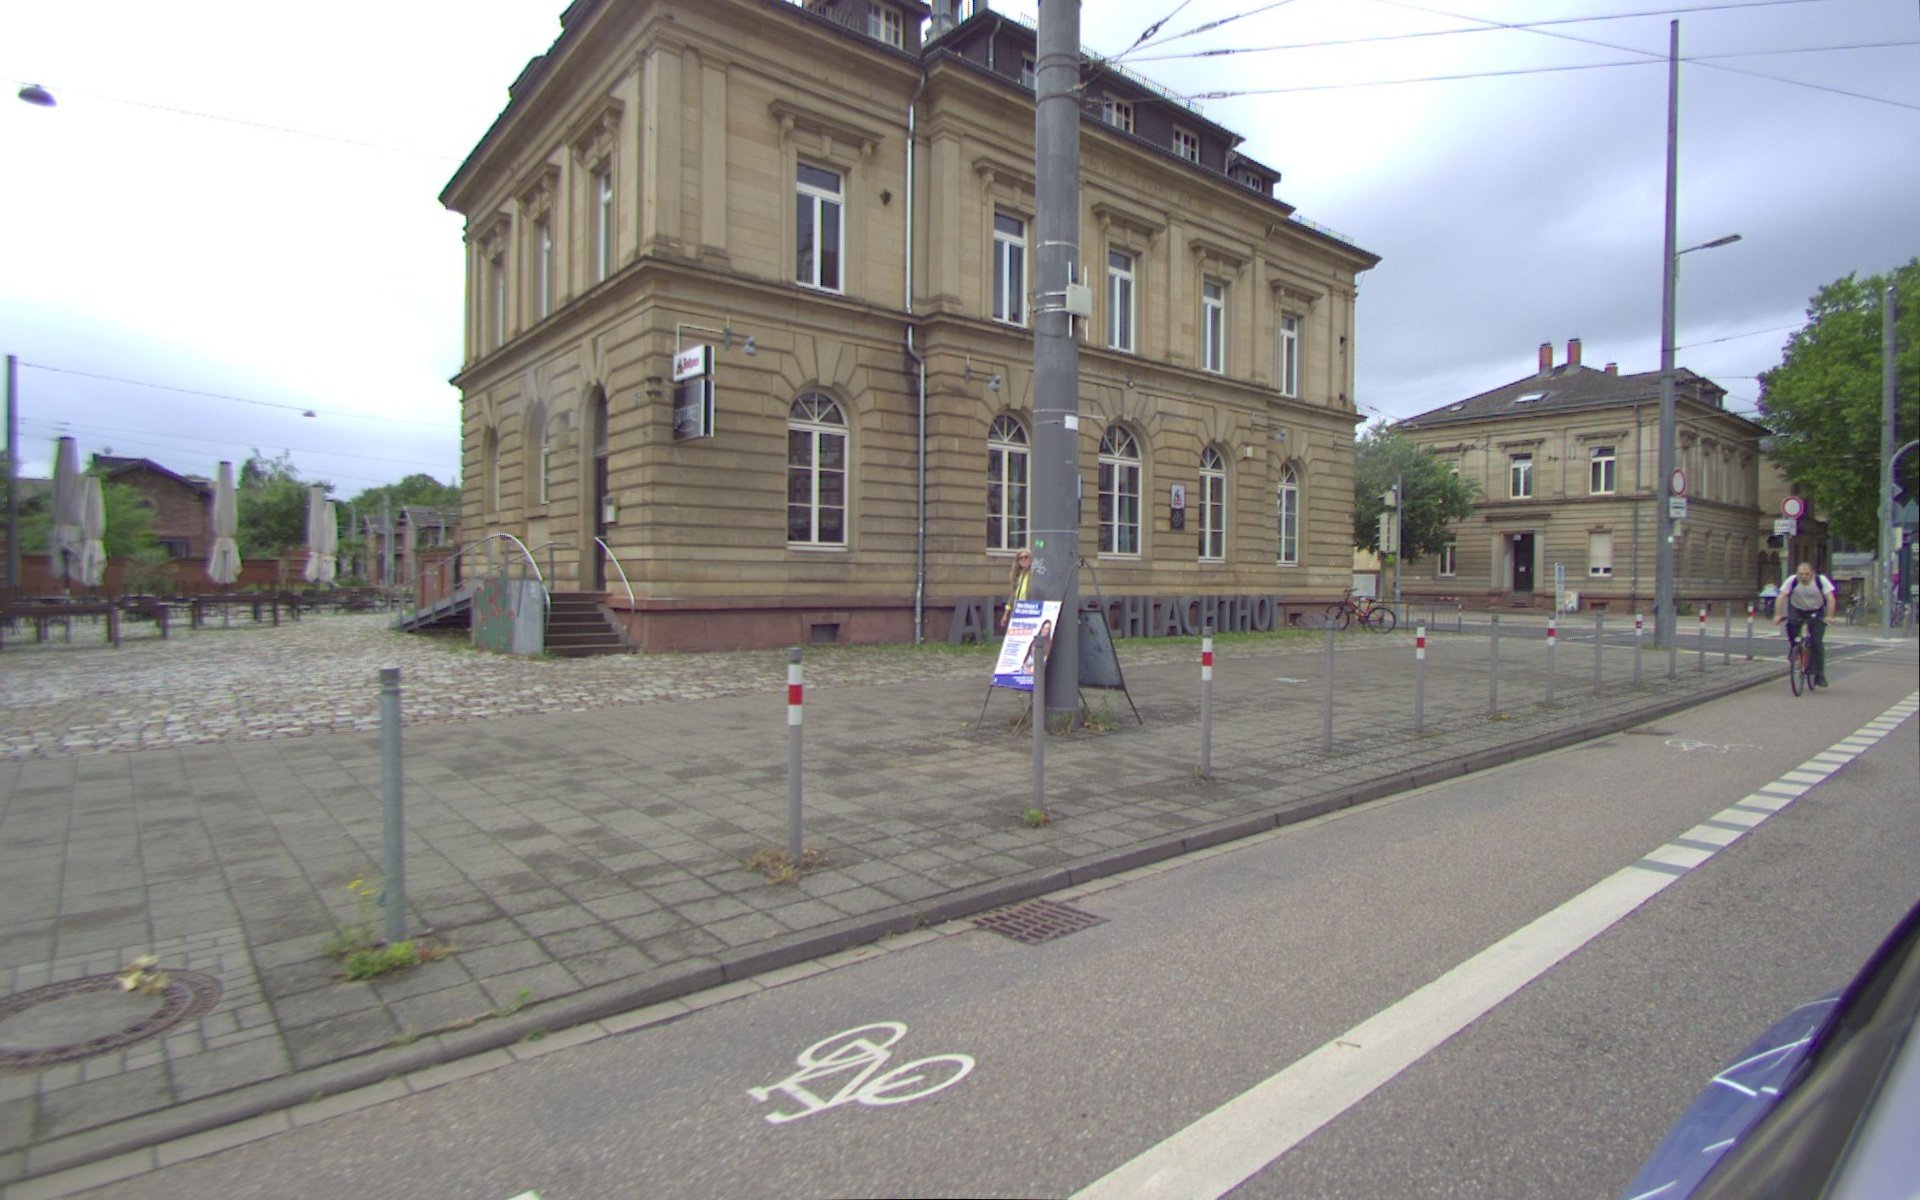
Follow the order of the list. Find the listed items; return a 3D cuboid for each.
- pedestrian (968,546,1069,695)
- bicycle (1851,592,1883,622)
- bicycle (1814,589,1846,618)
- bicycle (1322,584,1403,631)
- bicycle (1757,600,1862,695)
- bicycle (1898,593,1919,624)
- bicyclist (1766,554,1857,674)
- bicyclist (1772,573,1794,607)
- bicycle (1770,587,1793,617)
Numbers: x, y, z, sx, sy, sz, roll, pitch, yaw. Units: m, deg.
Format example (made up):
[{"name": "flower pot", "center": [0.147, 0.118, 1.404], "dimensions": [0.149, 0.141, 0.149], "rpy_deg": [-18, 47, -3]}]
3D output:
[{"name": "pedestrian", "center": [0.692, 0.220, 12.111], "dimensions": [0.979, 1.699, 0.722], "rpy_deg": [-1, 1, -30]}, {"name": "bicycle", "center": [34.960, 0.258, 38.997], "dimensions": [1.670, 1.081, 0.718], "rpy_deg": [-1, 2, -41]}, {"name": "bicycle", "center": [34.249, 0.120, 39.832], "dimensions": [1.670, 1.081, 0.718], "rpy_deg": [-1, 2, -41]}, {"name": "bicycle", "center": [10.408, 0.180, 26.204], "dimensions": [1.844, 1.091, 0.541], "rpy_deg": [4, 3, 33]}, {"name": "bicycle", "center": [12.125, 0.632, 14.421], "dimensions": [2.238, 1.184, 0.814], "rpy_deg": [-2, 2, -41]}, {"name": "bicycle", "center": [35.791, 0.308, 37.974], "dimensions": [1.670, 1.081, 0.718], "rpy_deg": [-1, 2, -41]}, {"name": "bicyclist", "center": [12.109, 0.166, 14.391], "dimensions": [1.169, 1.620, 0.811], "rpy_deg": [-1, 2, -42]}, {"name": "bicyclist", "center": [35.056, -0.447, 43.093], "dimensions": [0.691, 1.417, 0.805], "rpy_deg": [1, 2, 39]}, {"name": "bicycle", "center": [34.959, 0.063, 43.044], "dimensions": [0.674, 1.179, 2.083], "rpy_deg": [1, 2, 41]}]
